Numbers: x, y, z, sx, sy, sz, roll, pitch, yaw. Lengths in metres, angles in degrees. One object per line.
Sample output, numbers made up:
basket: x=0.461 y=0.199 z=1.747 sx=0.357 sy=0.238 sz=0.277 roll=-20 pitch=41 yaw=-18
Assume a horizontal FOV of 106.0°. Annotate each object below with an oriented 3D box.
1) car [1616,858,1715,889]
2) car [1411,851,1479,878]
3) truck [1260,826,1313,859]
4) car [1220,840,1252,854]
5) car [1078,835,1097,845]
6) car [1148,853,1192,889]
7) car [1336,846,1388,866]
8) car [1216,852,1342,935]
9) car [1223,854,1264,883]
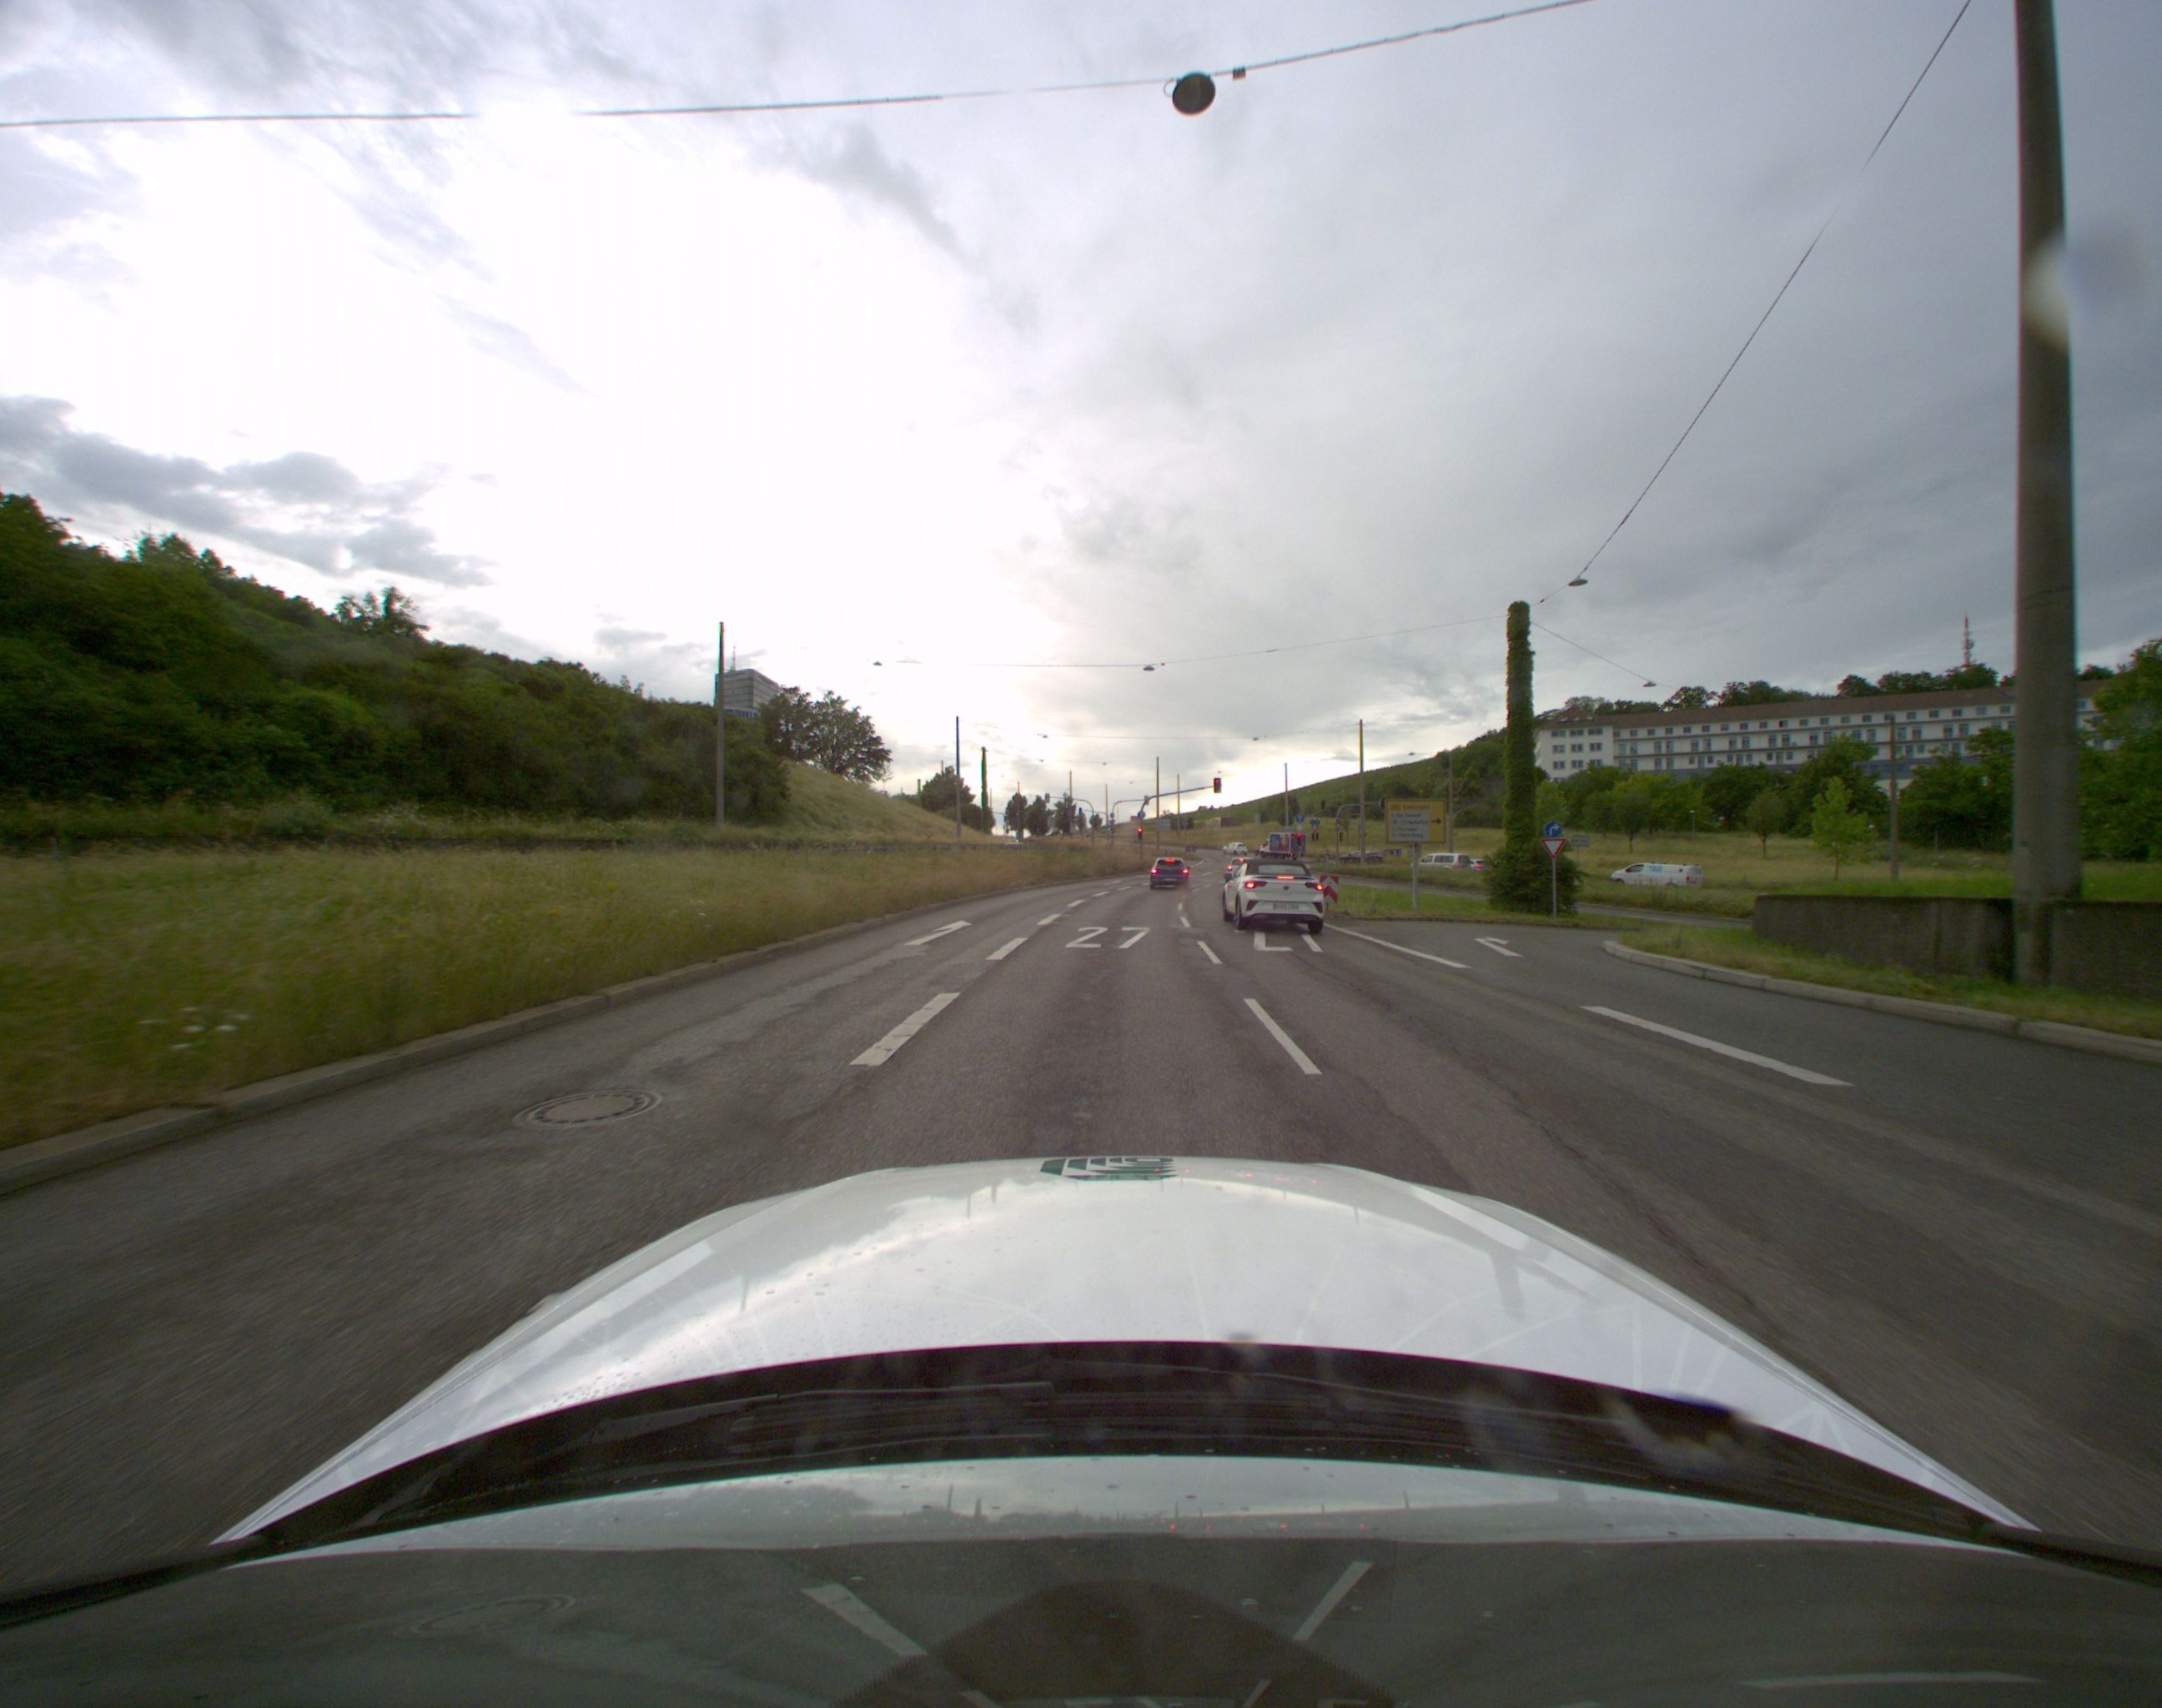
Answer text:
car: x=37.930 y=1.194 z=52.979 sx=2.004 sy=1.693 sz=4.855 roll=0 pitch=2 yaw=-26
car: x=27.716 y=0.753 z=62.198 sx=2.004 sy=1.711 sz=4.525 roll=-2 pitch=3 yaw=-26
truck: x=23.178 y=-1.380 z=92.208 sx=2.858 sy=3.526 sz=6.194 roll=-2 pitch=3 yaw=-20
car: x=19.429 y=-0.945 z=102.130 sx=1.999 sy=1.500 sz=4.536 roll=-2 pitch=3 yaw=-18
car: x=1.285 y=-2.650 z=152.573 sx=2.001 sy=1.712 sz=4.530 roll=-2 pitch=1 yaw=-21
car: x=4.151 y=0.780 z=37.827 sx=1.916 sy=1.599 sz=4.069 roll=0 pitch=-1 yaw=7
car: x=27.397 y=0.170 z=79.535 sx=2.007 sy=1.711 sz=4.518 roll=-3 pitch=3 yaw=-32
car: x=4.318 y=0.785 z=18.408 sx=1.988 sy=1.578 sz=4.129 roll=2 pitch=0 yaw=3
car: x=9.183 y=0.774 z=45.788 sx=1.760 sy=1.519 sz=3.742 roll=2 pitch=0 yaw=18
